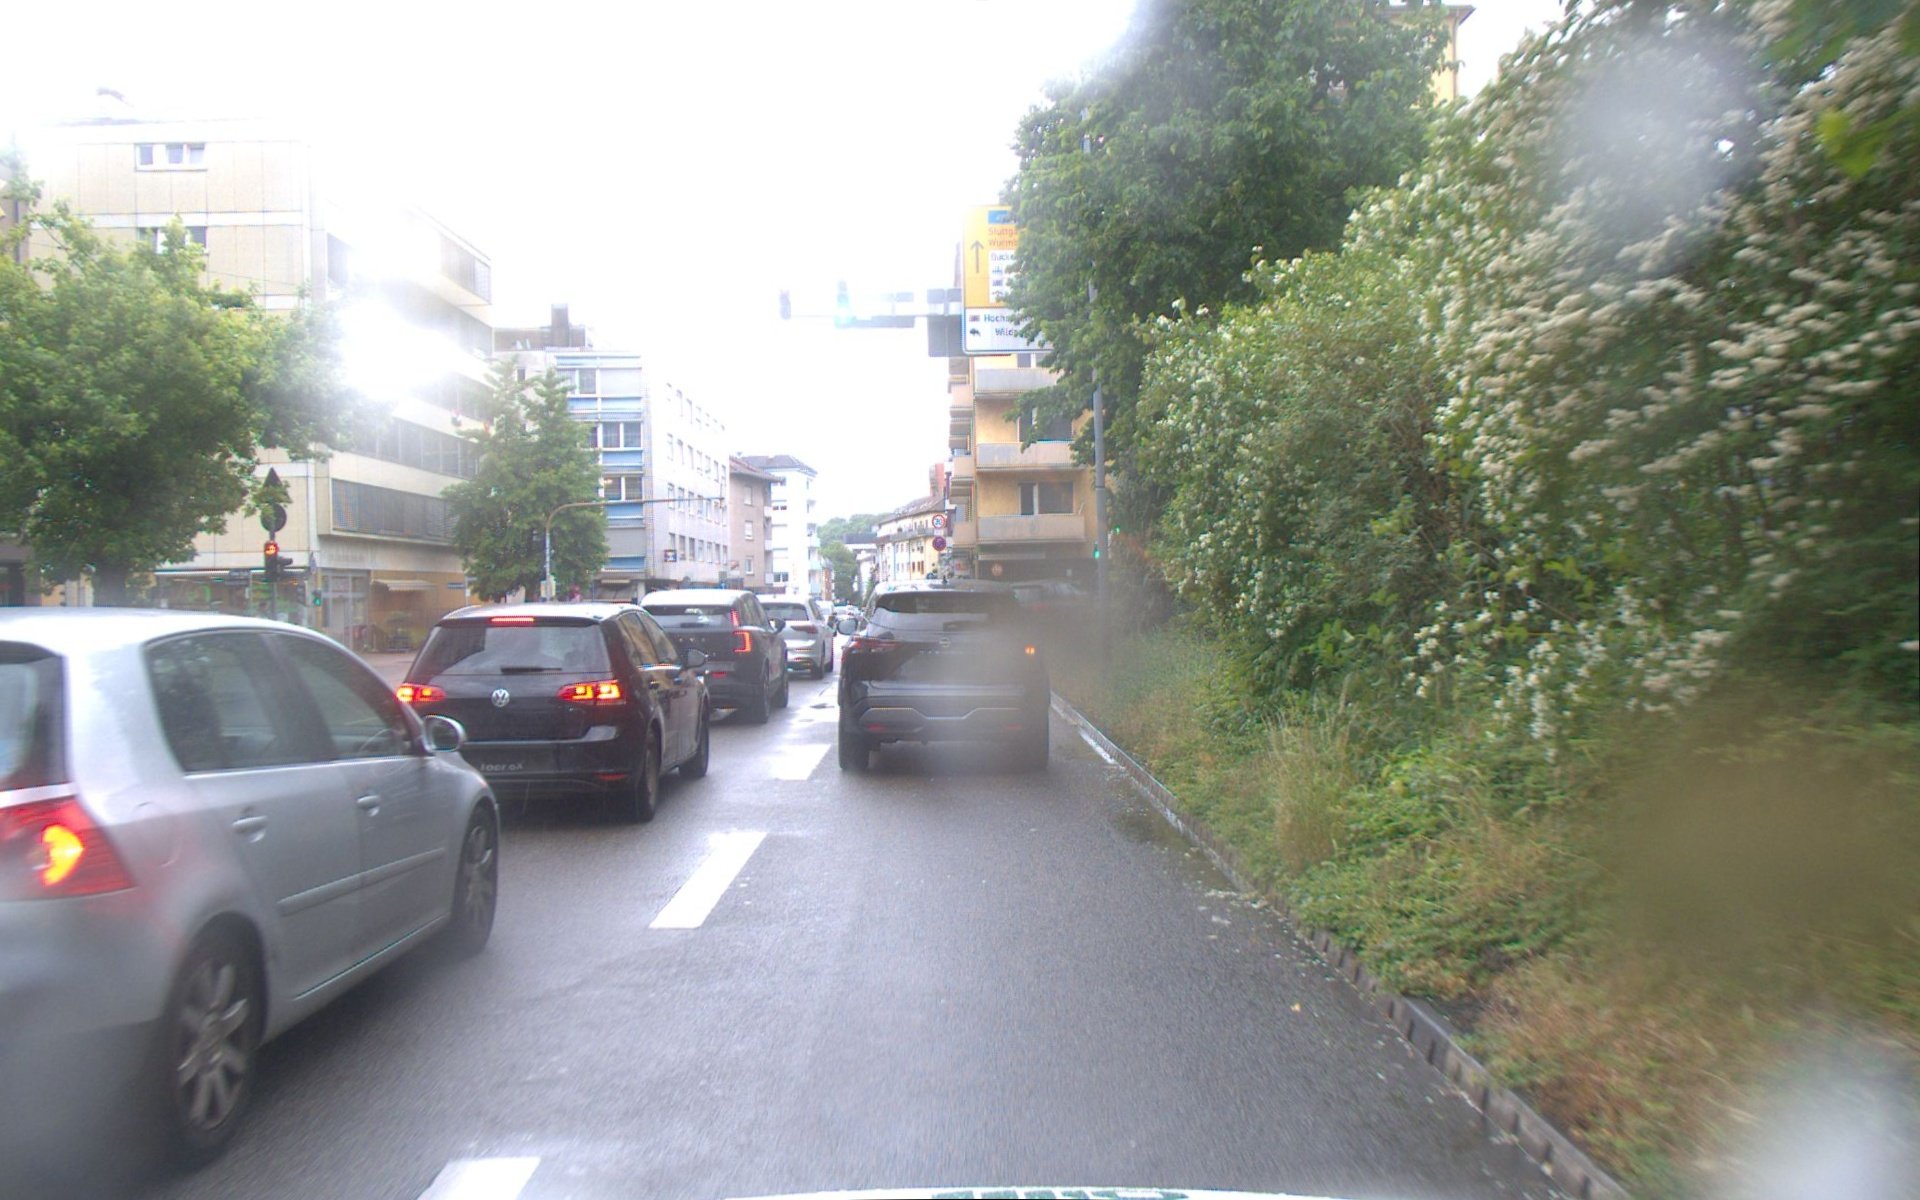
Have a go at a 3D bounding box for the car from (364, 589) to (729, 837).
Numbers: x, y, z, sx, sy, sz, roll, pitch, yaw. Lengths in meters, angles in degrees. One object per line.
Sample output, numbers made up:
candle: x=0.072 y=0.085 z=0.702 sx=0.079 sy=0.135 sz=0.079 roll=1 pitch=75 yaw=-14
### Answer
car: x=-2.830 y=0.684 z=12.212 sx=1.720 sy=1.478 sz=3.999 roll=-2 pitch=0 yaw=-1

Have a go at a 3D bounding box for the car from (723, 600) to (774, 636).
car: x=-10.055 y=0.837 z=78.763 sx=1.743 sy=1.504 sz=3.794 roll=-4 pitch=0 yaw=2

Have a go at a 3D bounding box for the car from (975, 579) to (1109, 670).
car: x=2.038 y=0.550 z=39.877 sx=1.953 sy=2.049 sz=3.999 roll=-1 pitch=0 yaw=23

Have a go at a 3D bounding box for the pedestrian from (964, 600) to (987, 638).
pedestrian: x=0.699 y=0.855 z=73.542 sx=0.819 sy=1.584 sz=0.832 roll=-7 pitch=0 yaw=-2

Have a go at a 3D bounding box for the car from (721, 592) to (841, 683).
car: x=-3.167 y=0.620 z=29.908 sx=1.731 sy=1.469 sz=3.999 roll=-2 pitch=0 yaw=-1

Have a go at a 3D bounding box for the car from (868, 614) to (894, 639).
car: x=-7.030 y=2.352 z=146.923 sx=1.953 sy=2.048 sz=4.000 roll=-3 pitch=0 yaw=0

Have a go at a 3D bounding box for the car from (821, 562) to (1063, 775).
car: x=-0.219 y=0.534 z=15.101 sx=1.920 sy=1.682 sz=3.998 roll=0 pitch=0 yaw=-2

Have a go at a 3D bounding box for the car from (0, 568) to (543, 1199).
car: x=-2.715 y=0.721 z=5.402 sx=1.708 sy=1.513 sz=4.160 roll=-2 pitch=0 yaw=-2

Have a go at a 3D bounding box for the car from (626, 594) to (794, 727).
car: x=-2.974 y=0.663 z=20.328 sx=1.580 sy=1.445 sz=3.965 roll=-1 pitch=0 yaw=-2

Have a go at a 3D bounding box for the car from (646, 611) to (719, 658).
car: x=-10.705 y=1.315 z=64.076 sx=1.953 sy=1.520 sz=4.088 roll=-5 pitch=0 yaw=1

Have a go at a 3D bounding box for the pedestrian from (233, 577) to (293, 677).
pedestrian: x=-14.823 y=0.571 z=35.208 sx=0.923 sy=2.049 sz=0.884 roll=-3 pitch=0 yaw=-10

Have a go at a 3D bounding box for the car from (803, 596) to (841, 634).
car: x=-7.094 y=0.760 z=85.158 sx=1.744 sy=1.847 sz=4.403 roll=-3 pitch=0 yaw=-3
